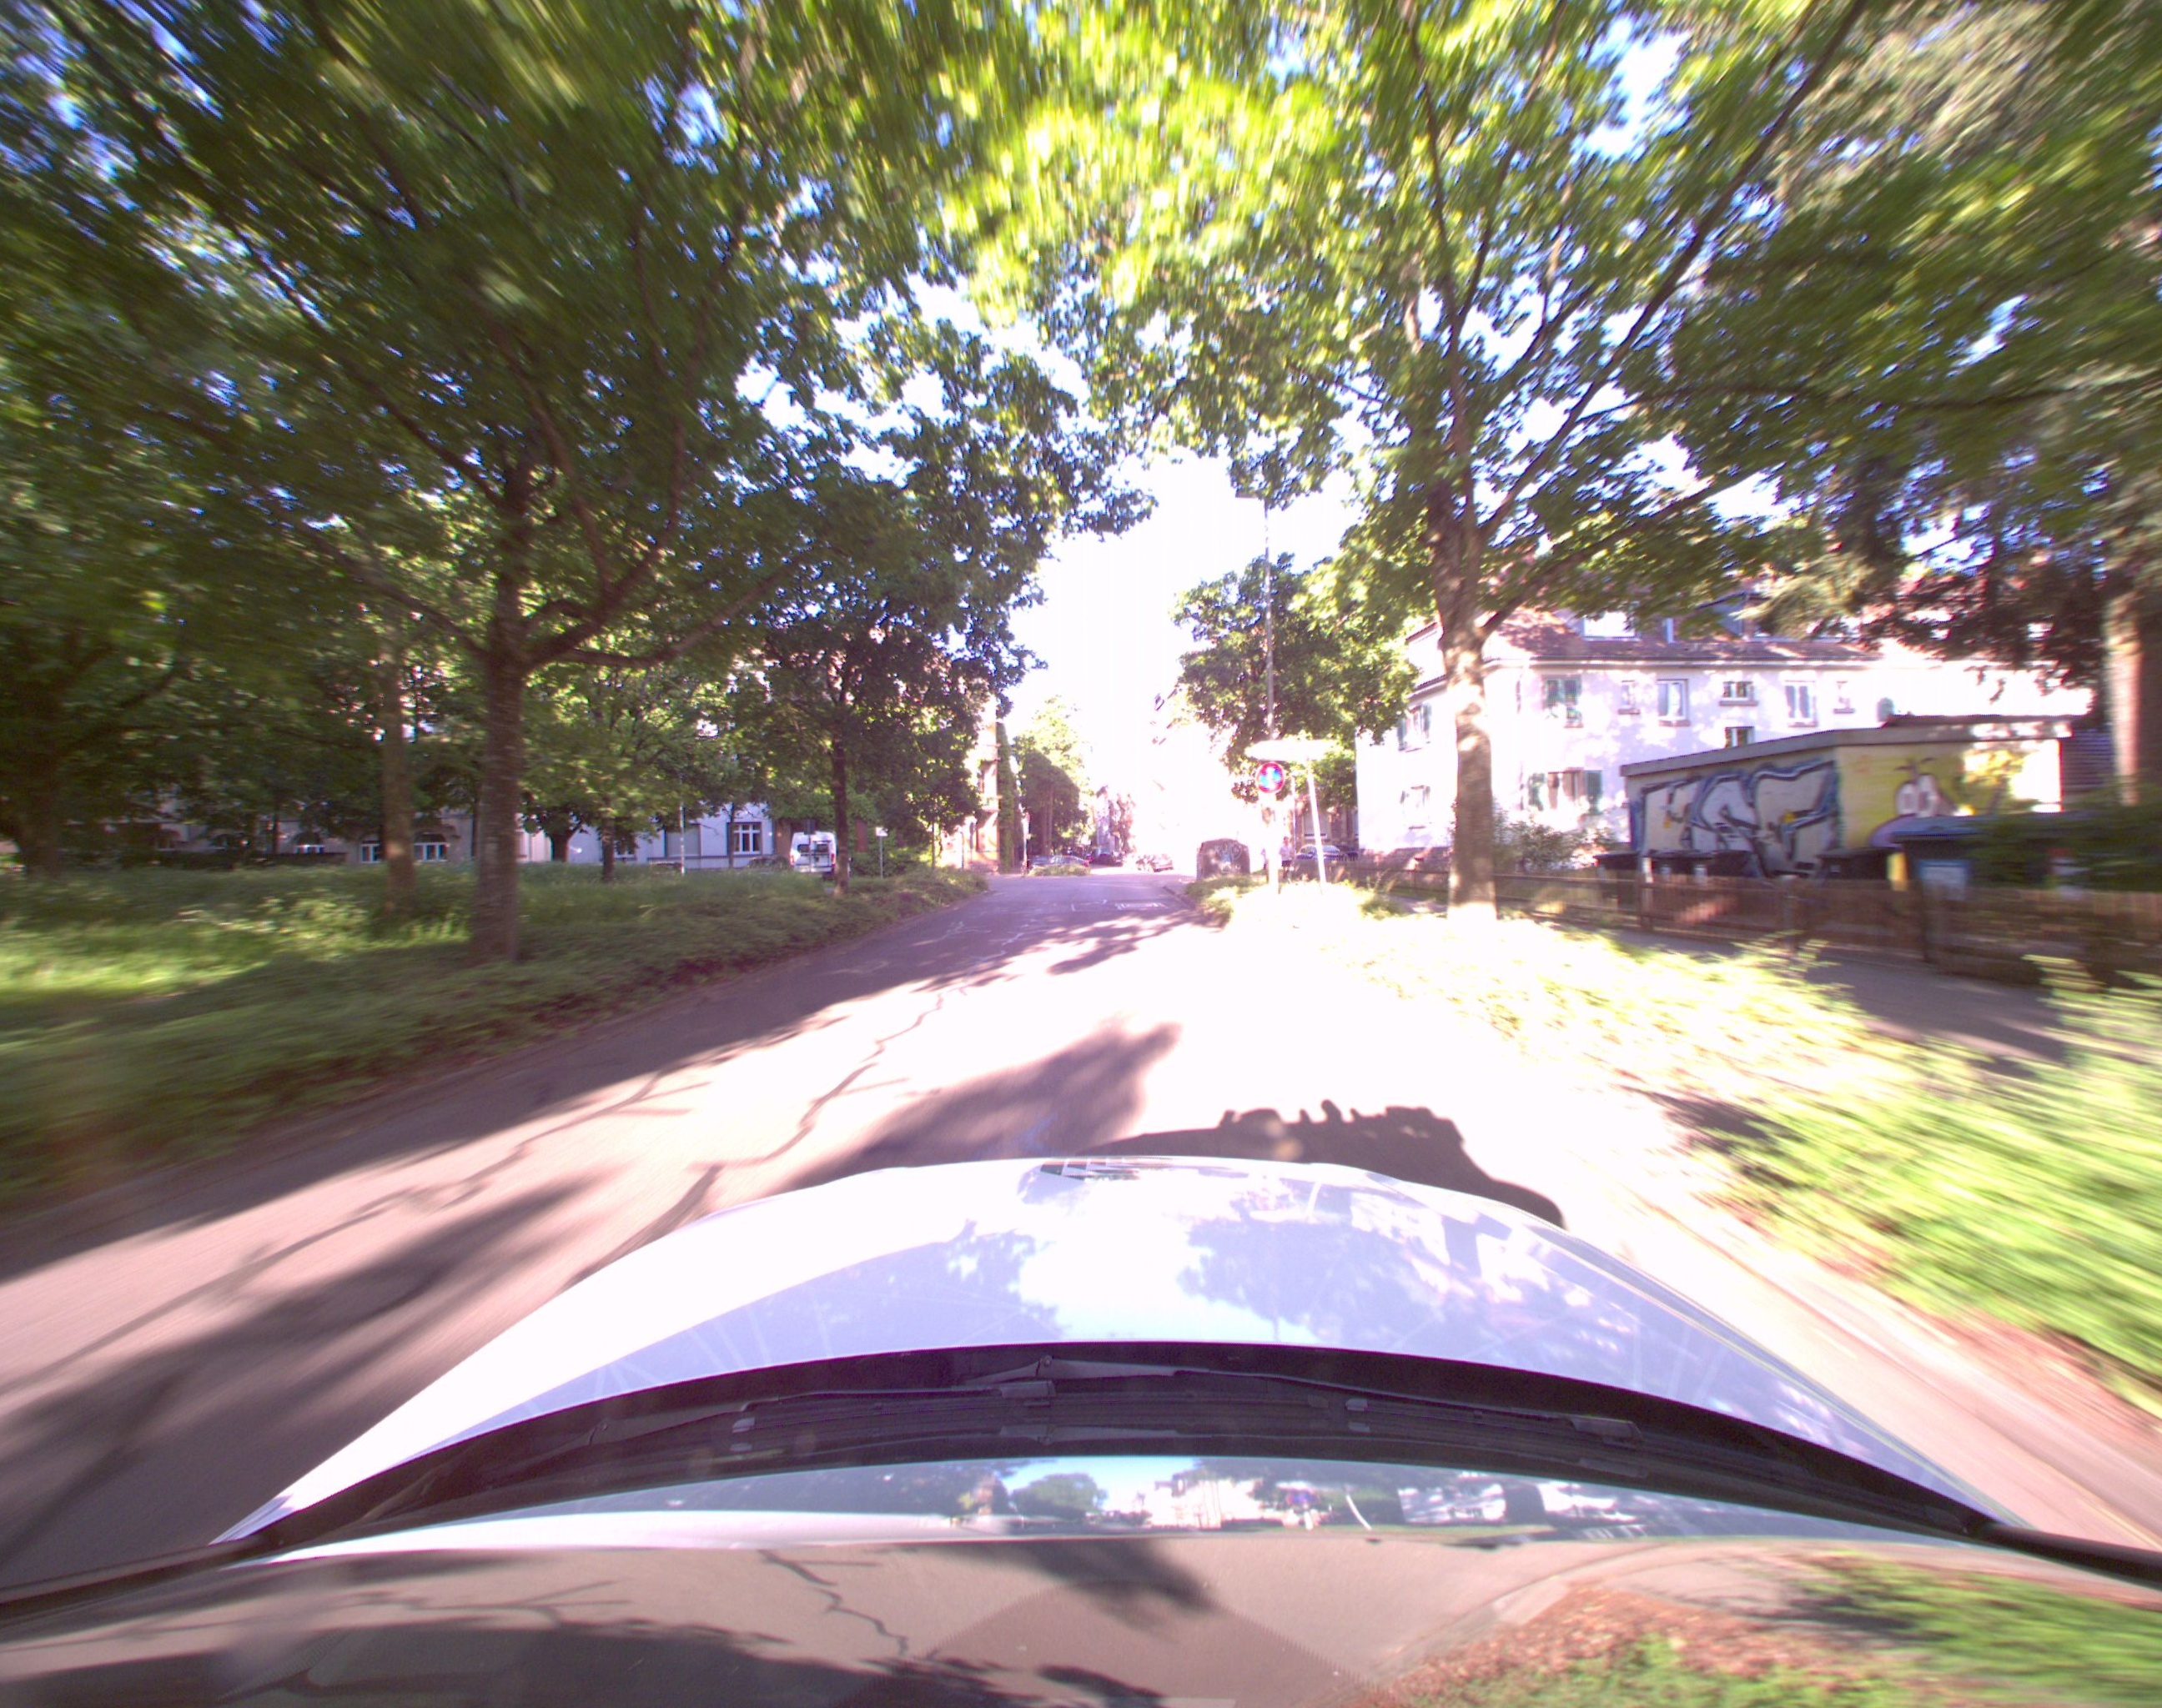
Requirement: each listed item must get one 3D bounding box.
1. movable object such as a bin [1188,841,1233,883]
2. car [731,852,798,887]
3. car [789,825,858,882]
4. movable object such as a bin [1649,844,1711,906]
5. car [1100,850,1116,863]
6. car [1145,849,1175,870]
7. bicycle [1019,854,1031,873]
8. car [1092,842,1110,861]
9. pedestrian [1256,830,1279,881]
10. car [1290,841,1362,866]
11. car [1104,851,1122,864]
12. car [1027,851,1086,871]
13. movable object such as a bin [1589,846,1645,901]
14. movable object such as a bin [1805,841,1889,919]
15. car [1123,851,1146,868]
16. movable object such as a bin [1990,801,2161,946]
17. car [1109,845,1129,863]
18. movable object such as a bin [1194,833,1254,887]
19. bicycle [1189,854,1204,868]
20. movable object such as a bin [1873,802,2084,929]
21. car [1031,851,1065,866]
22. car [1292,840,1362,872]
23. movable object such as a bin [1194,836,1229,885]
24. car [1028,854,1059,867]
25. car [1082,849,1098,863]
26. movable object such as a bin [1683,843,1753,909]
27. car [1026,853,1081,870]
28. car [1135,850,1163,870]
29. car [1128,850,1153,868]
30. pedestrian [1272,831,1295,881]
[{"bbox_3d":[5.198,0.323,32.743,1.580,1.657,1.640,0,0,1],"label":"movable object such as a bin"},{"bbox_3d":[-15.154,0.721,39.258,1.970,1.575,4.289,0,0,-7],"label":"car"},{"bbox_3d":[-12.558,-0.009,40.105,2.229,2.614,5.618,0,0,-7],"label":"car"},{"bbox_3d":[10.568,0.362,14.375,0.612,1.029,0.595,-3,0,1],"label":"movable object such as a bin"},{"bbox_3d":[3.488,0.310,106.103,1.799,1.679,3.995,0,0,-4],"label":"car"},{"bbox_3d":[6.009,0.425,62.311,1.734,1.581,3.995,0,0,-4],"label":"car"},{"bbox_3d":[-3.863,0.680,56.325,0.560,1.268,1.604,-2,0,4],"label":"bicycle"},{"bbox_3d":[2.829,-0.350,116.348,2.161,2.690,4.784,0,0,-4],"label":"car"},{"bbox_3d":[7.122,0.063,31.094,0.670,1.894,0.895,0,0,2],"label":"pedestrian"},{"bbox_3d":[15.996,-0.048,53.281,4.242,1.622,1.730,0,1,-9],"label":"car"},{"bbox_3d":[3.833,0.440,99.349,1.799,1.514,3.995,0,0,-4],"label":"car"},{"bbox_3d":[-1.857,0.521,60.482,4.237,1.435,1.996,0,0,-6],"label":"car"},{"bbox_3d":[10.626,0.384,16.168,0.641,1.029,0.645,-3,0,1],"label":"movable object such as a bin"},{"bbox_3d":[10.683,0.350,11.372,0.536,1.029,0.615,-3,0,1],"label":"movable object such as a bin"},{"bbox_3d":[5.119,0.487,78.487,1.734,1.581,3.995,0,0,-4],"label":"car"},{"bbox_3d":[11.116,0.172,8.761,1.075,1.427,1.366,-3,0,1],"label":"movable object such as a bin"},{"bbox_3d":[4.236,0.019,90.897,1.799,2.004,3.995,0,0,-4],"label":"car"},{"bbox_3d":[5.003,0.200,28.643,1.913,1.853,1.394,0,0,1],"label":"movable object such as a bin"},{"bbox_3d":[8.327,0.470,58.736,0.515,0.998,1.568,0,0,-15],"label":"bicycle"},{"bbox_3d":[11.217,0.137,10.261,1.075,1.430,1.387,-3,0,1],"label":"movable object such as a bin"},{"bbox_3d":[-3.763,0.505,92.393,3.798,1.575,1.706,0,0,-8],"label":"car"},{"bbox_3d":[12.775,0.134,42.567,1.992,1.556,3.989,0,-2,-8],"label":"car"},{"bbox_3d":[4.961,0.241,31.062,1.143,1.827,1.386,0,0,1],"label":"movable object such as a bin"},{"bbox_3d":[-4.740,0.773,102.290,3.796,1.575,1.706,0,0,-6],"label":"car"},{"bbox_3d":[1.482,0.337,133.411,2.161,2.237,4.784,0,0,-4],"label":"car"},{"bbox_3d":[10.554,0.357,13.507,0.603,1.029,0.641,-3,0,1],"label":"movable object such as a bin"},{"bbox_3d":[-2.463,0.676,72.914,4.828,1.435,1.707,0,0,-6],"label":"car"},{"bbox_3d":[5.706,0.506,68.547,1.734,1.581,3.995,0,0,-4],"label":"car"},{"bbox_3d":[5.330,0.470,73.938,1.734,1.581,3.995,0,0,-4],"label":"car"},{"bbox_3d":[7.855,0.067,31.620,0.640,1.894,1.019,0,0,2],"label":"pedestrian"}]
